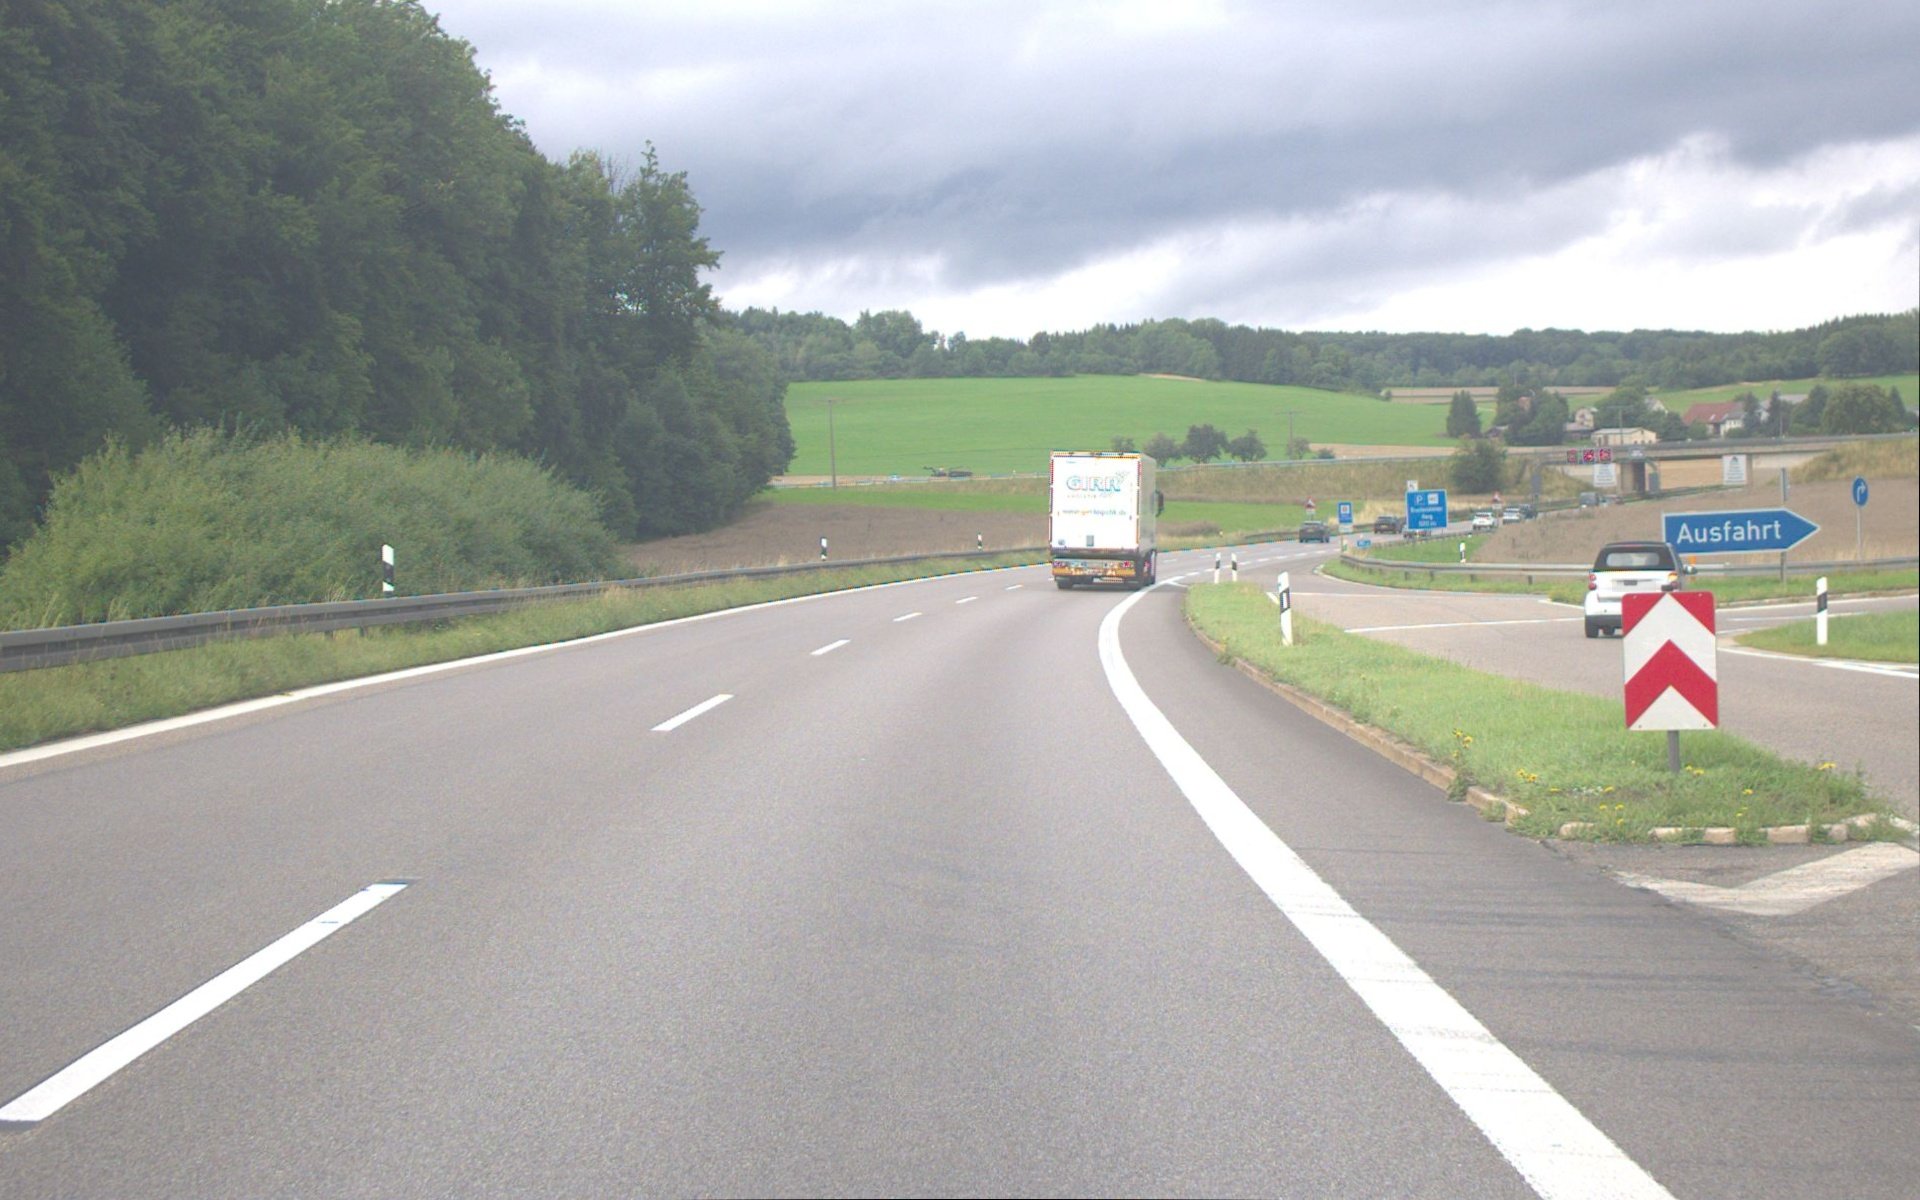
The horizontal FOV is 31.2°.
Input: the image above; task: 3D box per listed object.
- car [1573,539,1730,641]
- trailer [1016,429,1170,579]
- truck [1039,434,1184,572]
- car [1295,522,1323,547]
[{"bbox_3d":[11.345,-0.186,56.208,1.780,1.546,3.996,0,2,22],"label":"car"},{"bbox_3d":[4.170,-2.896,103.693,3.806,4.160,14.806,1,2,5],"label":"trailer"},{"bbox_3d":[4.964,-3.094,110.588,3.789,4.117,8.262,2,1,8],"label":"truck"},{"bbox_3d":[26.005,-4.864,256.229,1.903,1.789,3.998,0,-1,8],"label":"car"}]
